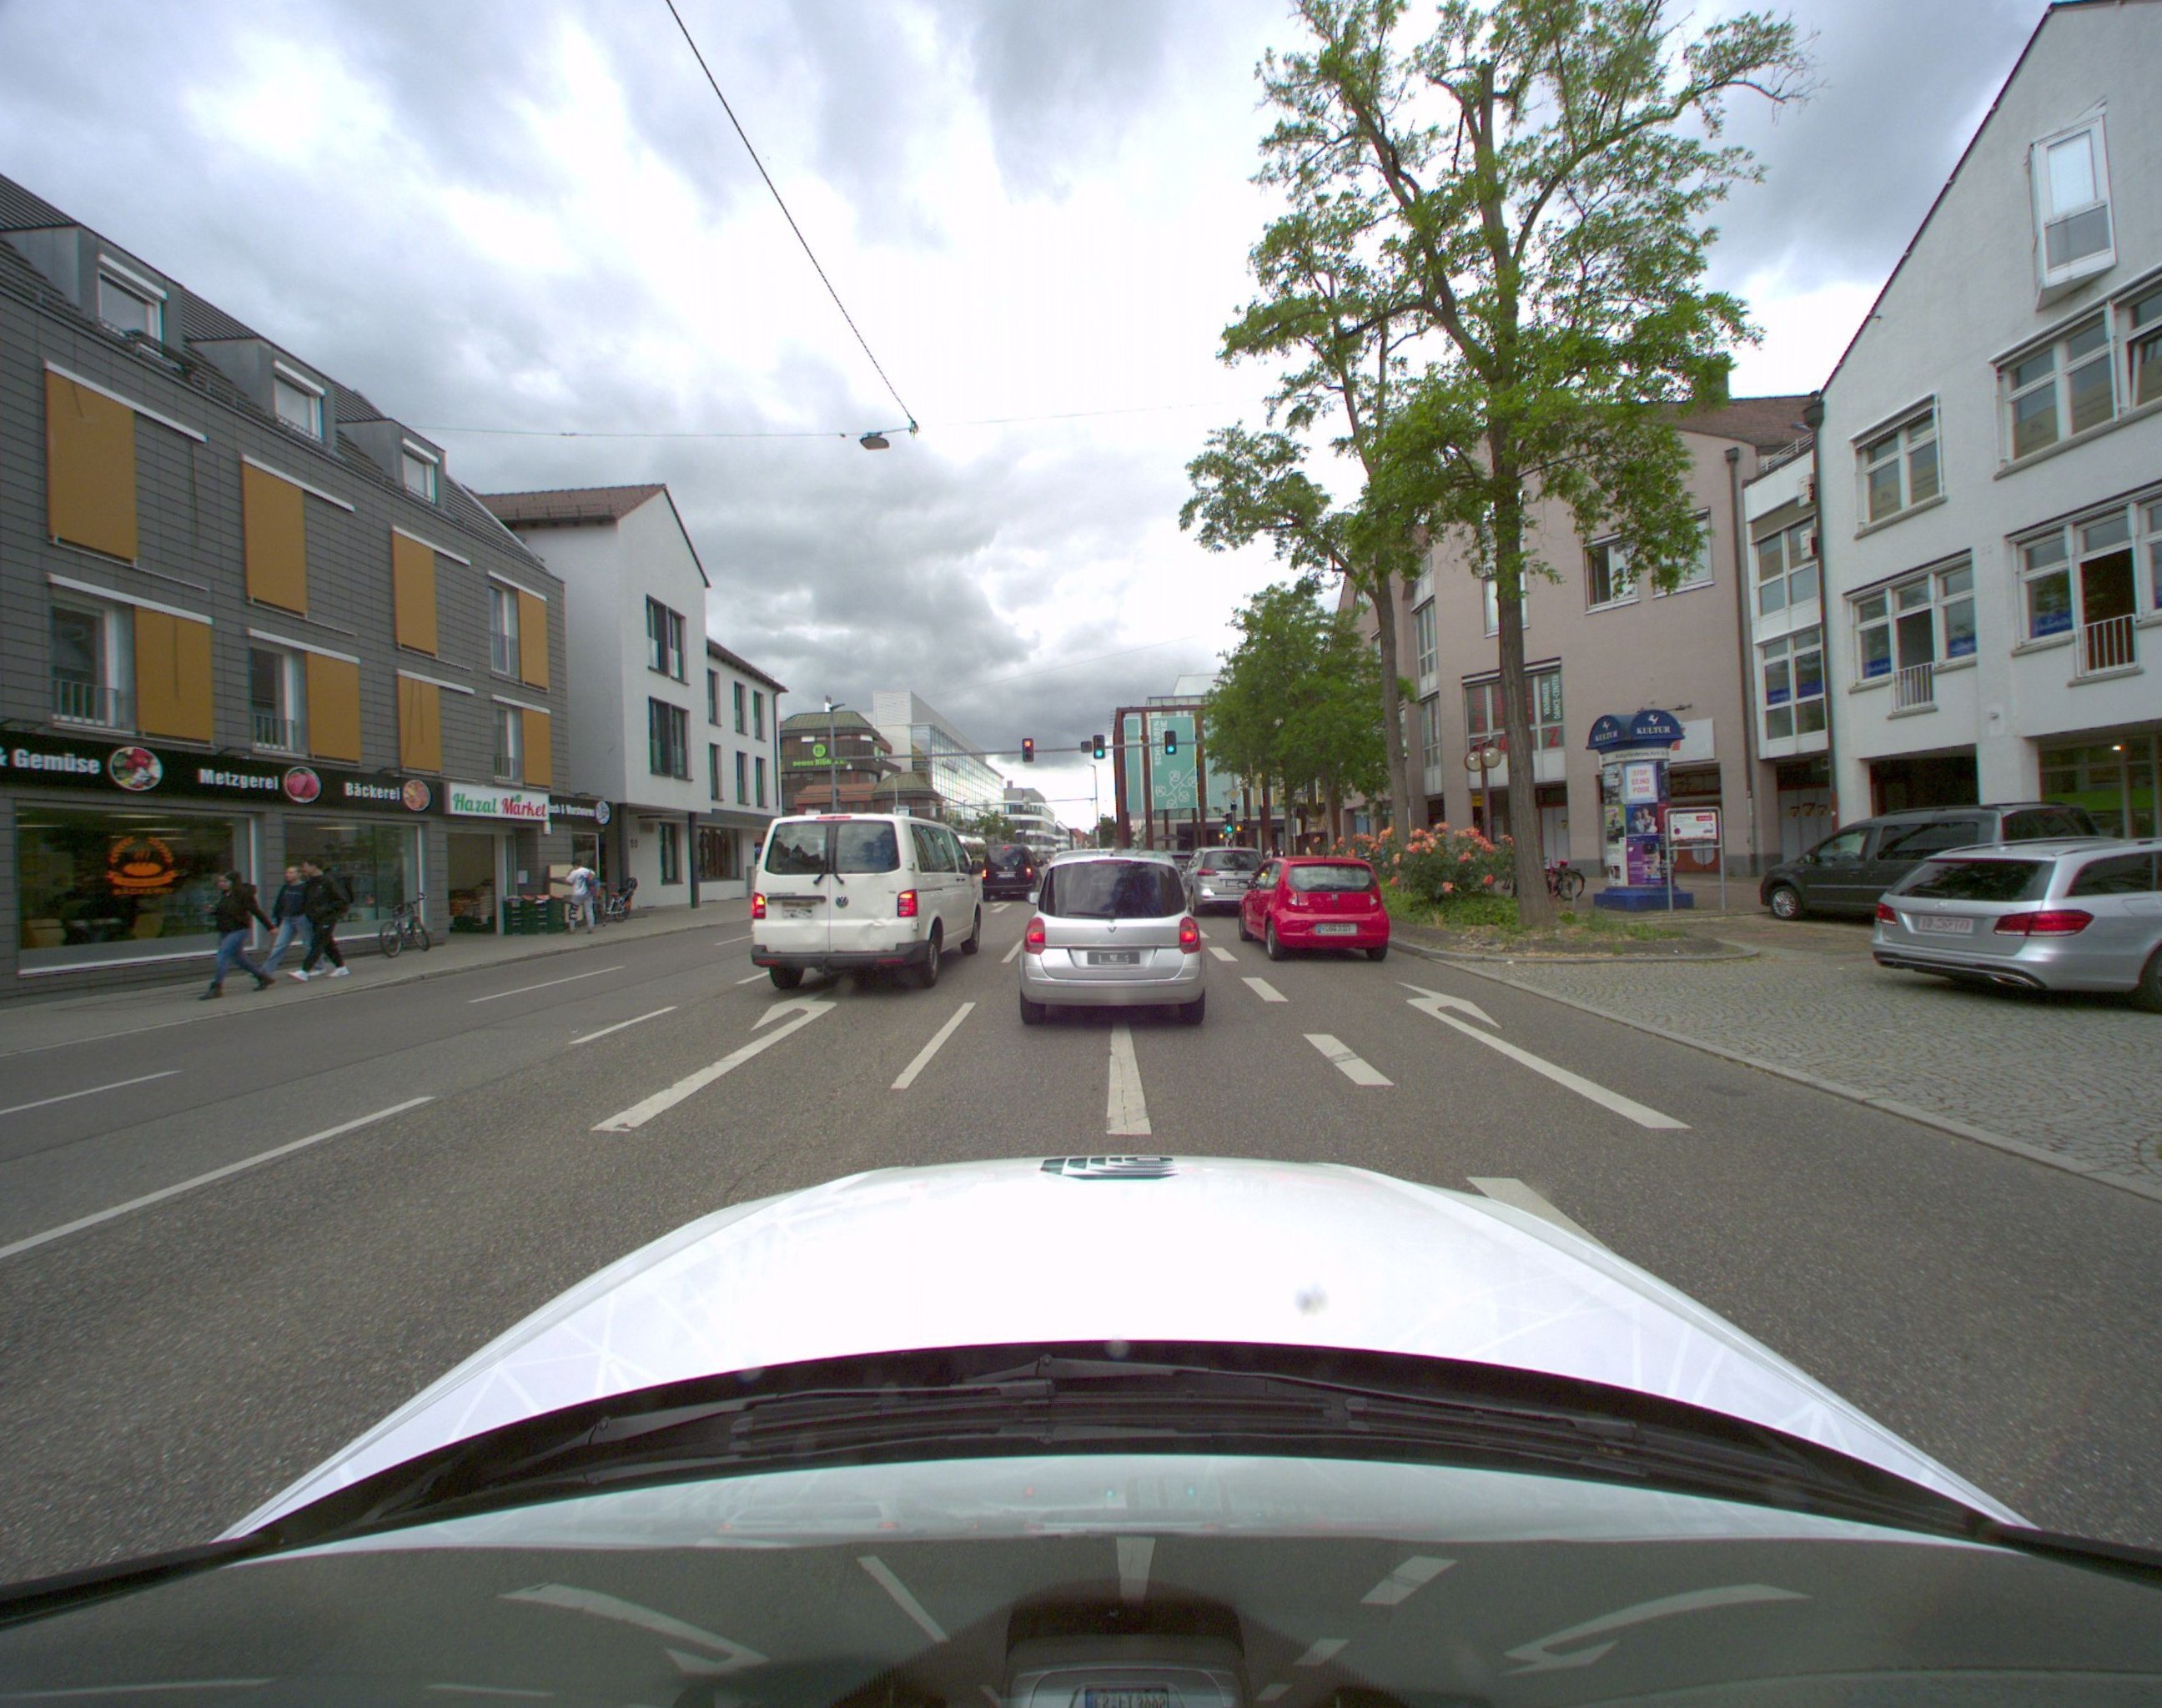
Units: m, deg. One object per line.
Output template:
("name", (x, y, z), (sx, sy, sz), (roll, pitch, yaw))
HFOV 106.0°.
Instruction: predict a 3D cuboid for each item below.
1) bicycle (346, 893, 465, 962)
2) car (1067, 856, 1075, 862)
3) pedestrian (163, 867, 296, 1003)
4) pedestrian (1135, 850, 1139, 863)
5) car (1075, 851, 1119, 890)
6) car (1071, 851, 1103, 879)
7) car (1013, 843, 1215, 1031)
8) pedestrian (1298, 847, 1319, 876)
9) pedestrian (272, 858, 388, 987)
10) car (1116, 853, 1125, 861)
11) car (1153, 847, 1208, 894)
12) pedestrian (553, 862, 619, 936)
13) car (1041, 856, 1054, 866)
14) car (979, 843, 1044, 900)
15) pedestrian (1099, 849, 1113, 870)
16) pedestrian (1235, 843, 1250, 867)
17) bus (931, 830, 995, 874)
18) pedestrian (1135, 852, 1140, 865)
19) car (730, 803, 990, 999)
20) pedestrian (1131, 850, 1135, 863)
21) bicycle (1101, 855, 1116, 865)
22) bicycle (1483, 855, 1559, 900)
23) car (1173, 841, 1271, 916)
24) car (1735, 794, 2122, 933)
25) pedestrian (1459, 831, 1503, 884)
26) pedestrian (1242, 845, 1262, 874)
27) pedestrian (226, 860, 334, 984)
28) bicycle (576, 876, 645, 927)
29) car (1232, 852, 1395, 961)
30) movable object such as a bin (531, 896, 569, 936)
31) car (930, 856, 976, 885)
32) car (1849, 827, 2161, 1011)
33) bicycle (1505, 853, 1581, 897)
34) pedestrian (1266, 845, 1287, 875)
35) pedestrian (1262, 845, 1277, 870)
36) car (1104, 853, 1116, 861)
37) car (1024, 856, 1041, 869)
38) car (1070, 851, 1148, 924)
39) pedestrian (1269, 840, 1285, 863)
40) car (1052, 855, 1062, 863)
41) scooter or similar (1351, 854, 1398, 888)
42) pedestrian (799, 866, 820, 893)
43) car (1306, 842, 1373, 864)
("bicycle", (-12.632, 1.337, 15.312), (0.569, 1.101, 1.903), (-2, 0, 2))
("car", (-2.604, 1.212, 207.270), (1.654, 1.465, 4.002), (-3, 0, 2))
("pedestrian", (-11.335, 1.050, 10.876), (0.800, 1.698, 0.871), (-2, 0, 3))
("pedestrian", (6.820, 0.289, 99.413), (0.425, 1.549, 0.481), (-2, 0, 0))
("car", (0.675, 0.628, 33.029), (1.663, 1.495, 3.643), (0, 0, 2))
("car", (0.369, 0.572, 45.613), (1.663, 1.495, 3.643), (0, 0, 2))
("car", (0.330, 0.683, 8.573), (1.663, 1.554, 3.643), (0, 0, 2))
("pedestrian", (14.042, 0.472, 50.252), (0.876, 1.767, 1.120), (-2, 0, -1))
("pedestrian", (-11.278, 0.993, 12.268), (0.704, 1.839, 1.029), (-2, 0, 3))
("car", (7.680, 0.604, 158.788), (1.870, 1.564, 4.002), (0, 0, 2))
("car", (3.822, 0.594, 31.787), (1.733, 1.701, 4.382), (0, 0, 2))
("pedestrian", (-11.537, 1.030, 19.017), (0.884, 1.643, 0.972), (-2, 0, 1))
("car", (-5.496, 1.198, 134.269), (1.654, 1.465, 4.002), (-3, 0, 2))
("car", (-2.303, 0.556, 28.171), (1.701, 1.820, 4.573), (0, 0, 2))
("pedestrian", (2.061, 0.438, 66.555), (0.861, 1.646, 0.685), (-2, 0, 36))
("pedestrian", (11.173, 0.043, 56.429), (0.739, 1.626, 0.953), (-3, 0, -2))
("bus", (-10.088, -0.207, 71.210), (2.975, 3.327, 12.315), (-5, 0, 3))
("pedestrian", (5.199, 0.399, 74.559), (0.445, 1.220, 0.607), (-2, 0, 4))
("car", (-2.565, 0.484, 10.850), (1.986, 2.013, 4.842), (-1, 0, 2))
("pedestrian", (6.300, 0.292, 99.330), (0.425, 1.549, 0.481), (-2, 0, 0))
("bicycle", (2.989, 0.658, 88.188), (1.553, 0.992, 0.753), (-2, 0, 4))
("bicycle", (10.752, 0.582, 19.951), (1.549, 1.048, 0.409), (-2, 0, 43))
("car", (3.461, 0.543, 20.748), (1.734, 1.701, 4.380), (0, 0, 0))
("car", (13.197, 0.127, 13.159), (1.729, 1.804, 4.260), (-3, 0, -1))
("pedestrian", (12.745, 0.097, 25.957), (0.806, 1.626, 1.093), (-3, 0, -1))
("pedestrian", (10.158, 0.343, 48.411), (0.876, 1.681, 1.120), (-2, 0, -1))
("pedestrian", (-12.096, 0.999, 12.330), (0.704, 1.781, 0.871), (-2, 0, 3))
("bicycle", (-12.666, 1.243, 22.013), (0.580, 1.232, 2.119), (-2, 0, 0))
("car", (3.448, 0.703, 12.725), (1.620, 1.448, 3.643), (0, 0, 2))
("movable object such as a bin", (-12.638, 1.462, 19.403), (0.549, 0.899, 0.507), (-2, 0, 0))
("car", (-7.123, 0.892, 45.737), (1.752, 1.448, 4.037), (-3, 0, 2))
("car", (10.534, 0.497, 7.822), (4.622, 1.453, 1.740), (-3, 0, 1))
("bicycle", (11.407, 0.530, 20.158), (1.549, 1.048, 0.409), (-2, 0, 43))
("pedestrian", (11.719, 0.373, 48.893), (0.876, 1.767, 1.120), (-2, 0, -1))
("pedestrian", (12.895, 0.233, 55.653), (0.739, 1.626, 0.953), (-3, 0, -2))
("car", (4.681, 0.516, 132.302), (1.870, 1.335, 4.002), (0, 0, 2))
("car", (-5.996, 1.078, 101.056), (1.654, 1.465, 4.002), (-3, 0, 2))
("car", (0.653, 0.711, 19.157), (1.663, 1.554, 3.643), (0, 0, 2))
("pedestrian", (14.074, -0.202, 58.545), (0.818, 1.595, 1.039), (-2, 0, 1))
("car", (-4.596, 0.885, 156.875), (1.654, 1.465, 4.002), (-3, 0, 2))
("scooter or similar", (9.959, 0.581, 27.713), (0.471, 1.087, 1.878), (-3, -1, -15))
("pedestrian", (-17.924, 1.676, 53.726), (0.944, 1.755, 0.945), (-2, 0, 3))
("car", (18.112, -0.081, 57.173), (4.161, 1.404, 1.800), (-1, 0, -1))
